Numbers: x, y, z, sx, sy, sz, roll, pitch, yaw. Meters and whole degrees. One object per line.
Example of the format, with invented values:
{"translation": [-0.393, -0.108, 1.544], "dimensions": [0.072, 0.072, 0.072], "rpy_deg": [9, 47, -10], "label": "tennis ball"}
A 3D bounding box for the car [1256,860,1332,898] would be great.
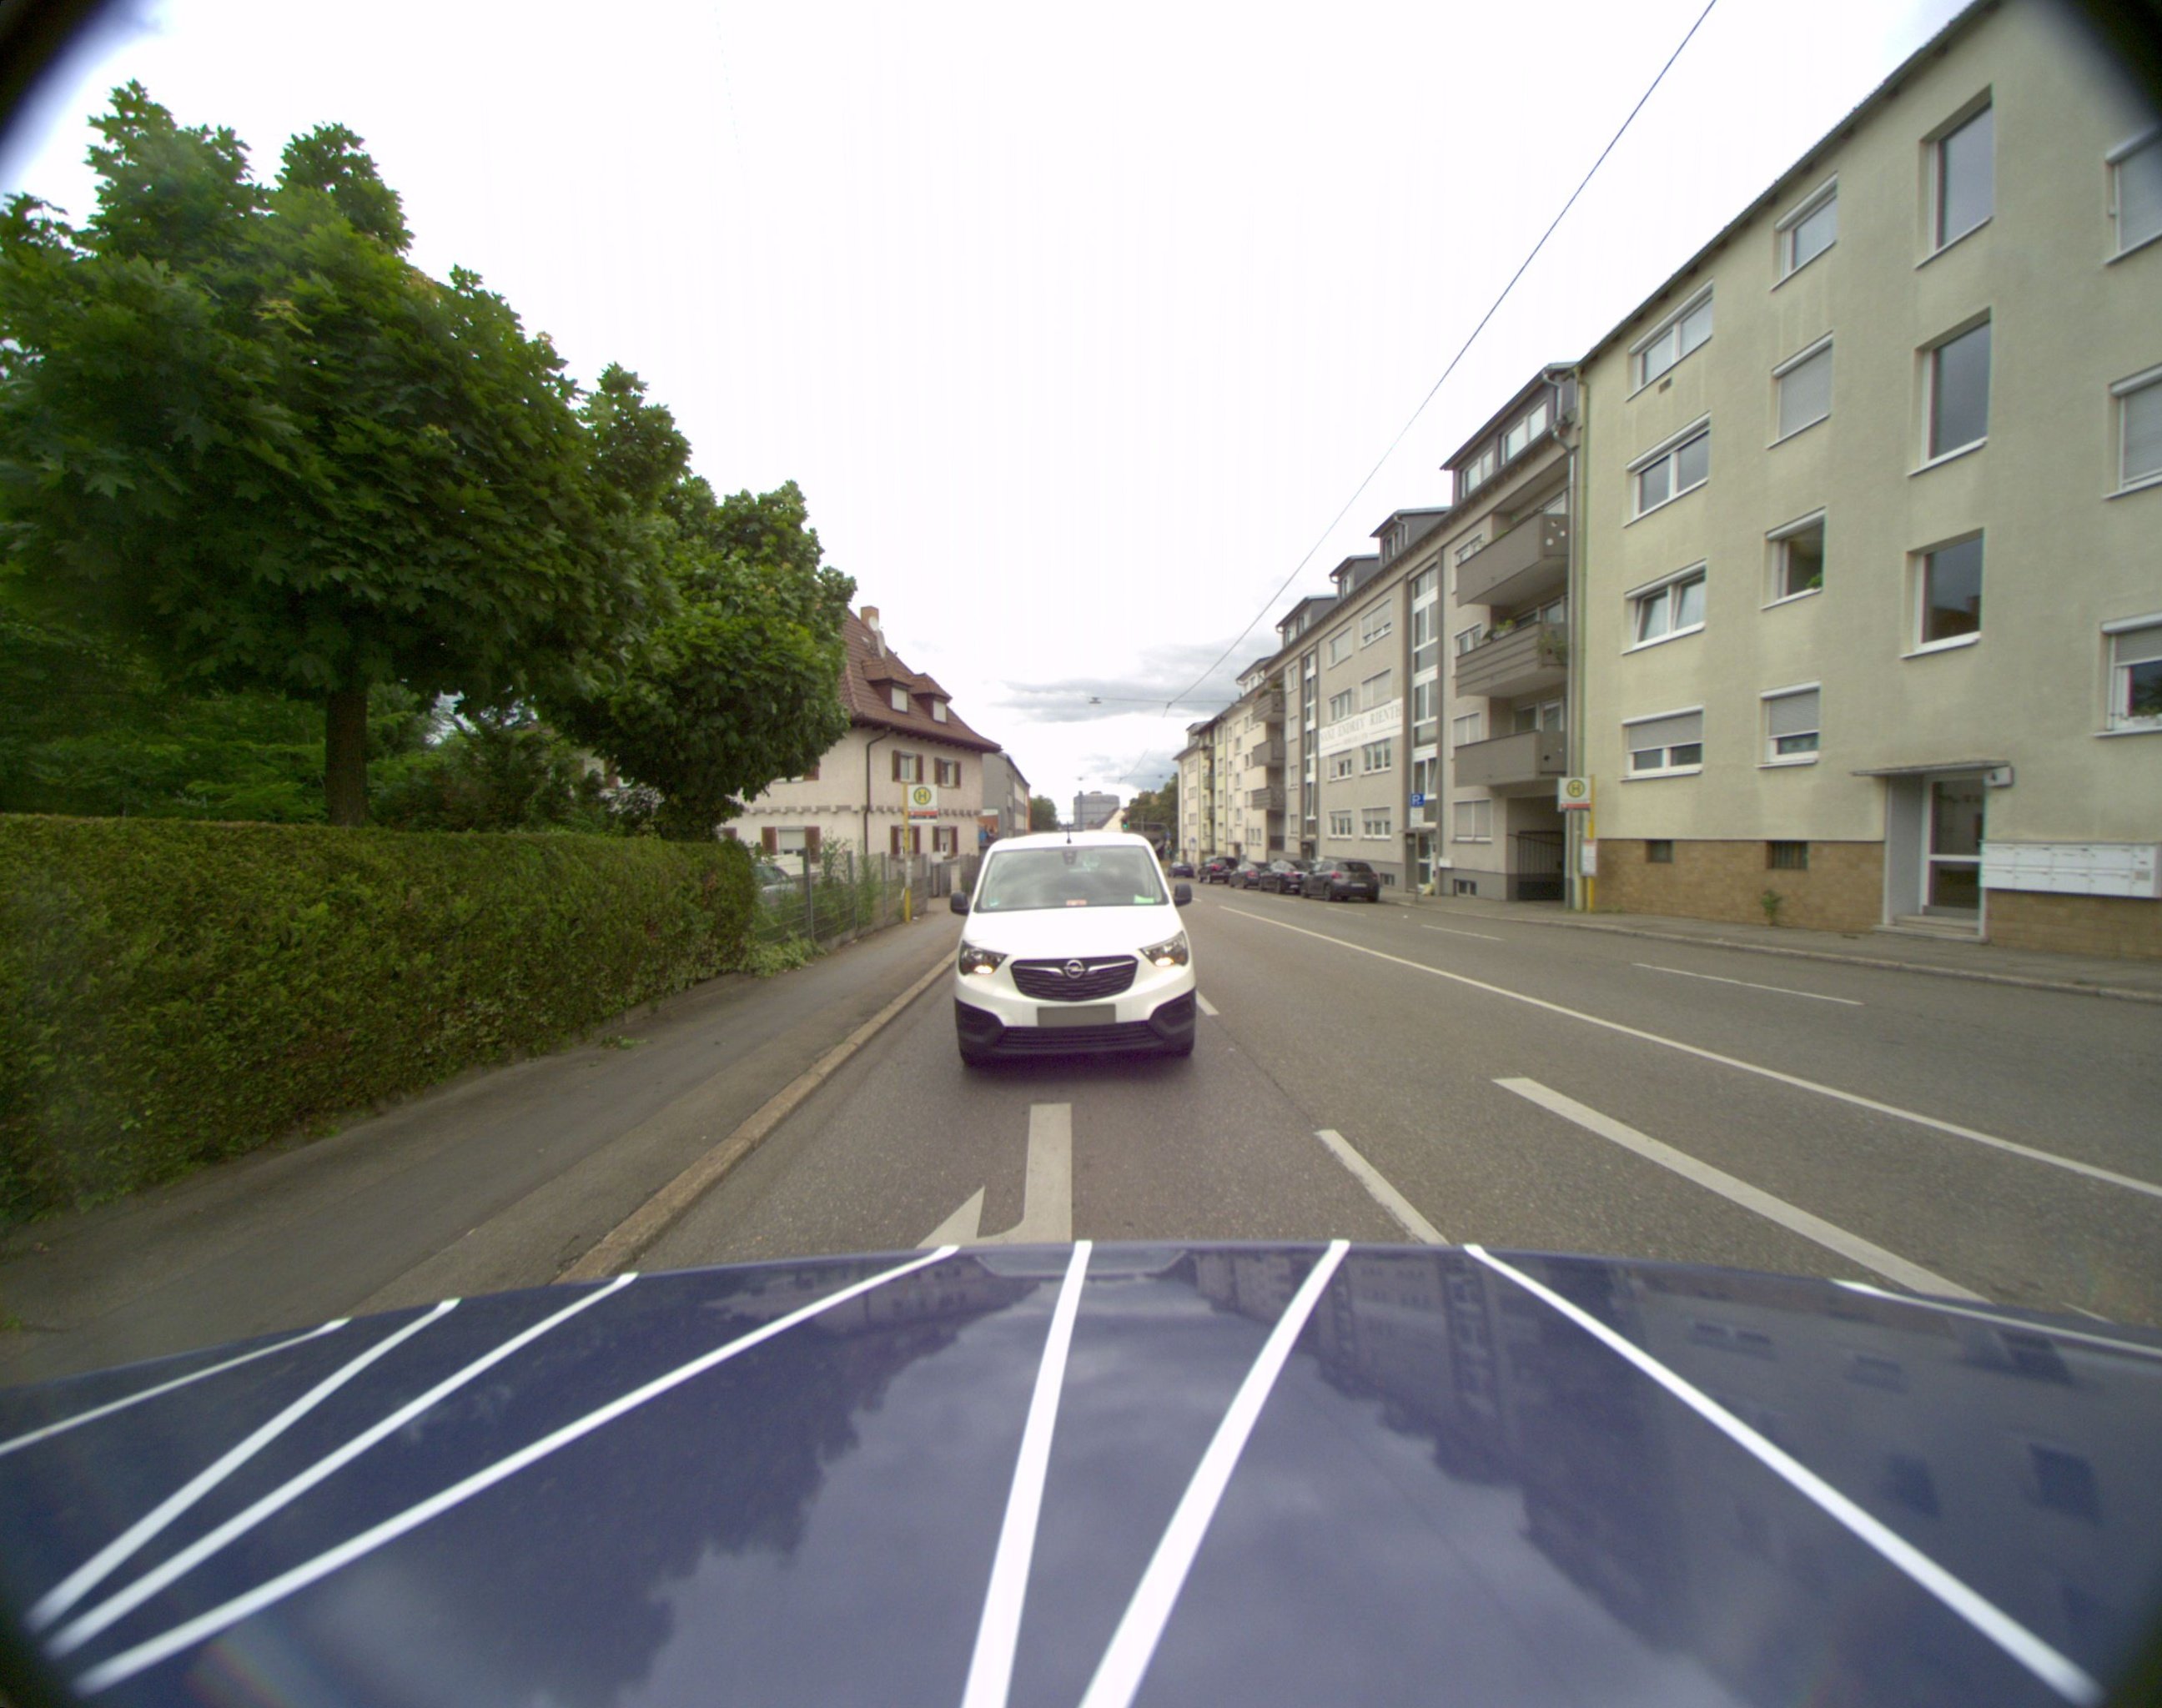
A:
{"translation": [9.009, 1.009, 32.530], "dimensions": [1.773, 1.397, 4.717], "rpy_deg": [1, 0, -2], "label": "car"}

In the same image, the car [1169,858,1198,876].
{"translation": [8.624, 1.063, 64.074], "dimensions": [1.875, 1.372, 4.307], "rpy_deg": [1, 0, 1], "label": "car"}

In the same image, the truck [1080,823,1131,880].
{"translation": [1.560, -0.140, 52.103], "dimensions": [2.776, 3.554, 8.062], "rpy_deg": [-2, 0, -3], "label": "truck"}

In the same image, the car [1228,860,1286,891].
{"translation": [8.714, 1.035, 38.001], "dimensions": [1.773, 1.397, 4.306], "rpy_deg": [1, 0, -2], "label": "car"}

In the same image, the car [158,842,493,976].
{"translation": [-13.239, 0.816, 13.521], "dimensions": [1.994, 2.002, 4.008], "rpy_deg": [-1, 0, 40], "label": "car"}

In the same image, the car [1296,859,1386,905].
{"translation": [9.094, 0.944, 26.942], "dimensions": [1.773, 1.428, 3.800], "rpy_deg": [1, 0, -2], "label": "car"}

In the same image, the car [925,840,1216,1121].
{"translation": [-0.115, 0.801, 6.919], "dimensions": [1.803, 1.735, 3.999], "rpy_deg": [-3, 1, -2], "label": "car"}

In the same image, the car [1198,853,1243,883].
{"translation": [8.638, 0.842, 47.328], "dimensions": [1.875, 1.743, 4.306], "rpy_deg": [1, 0, -2], "label": "car"}
